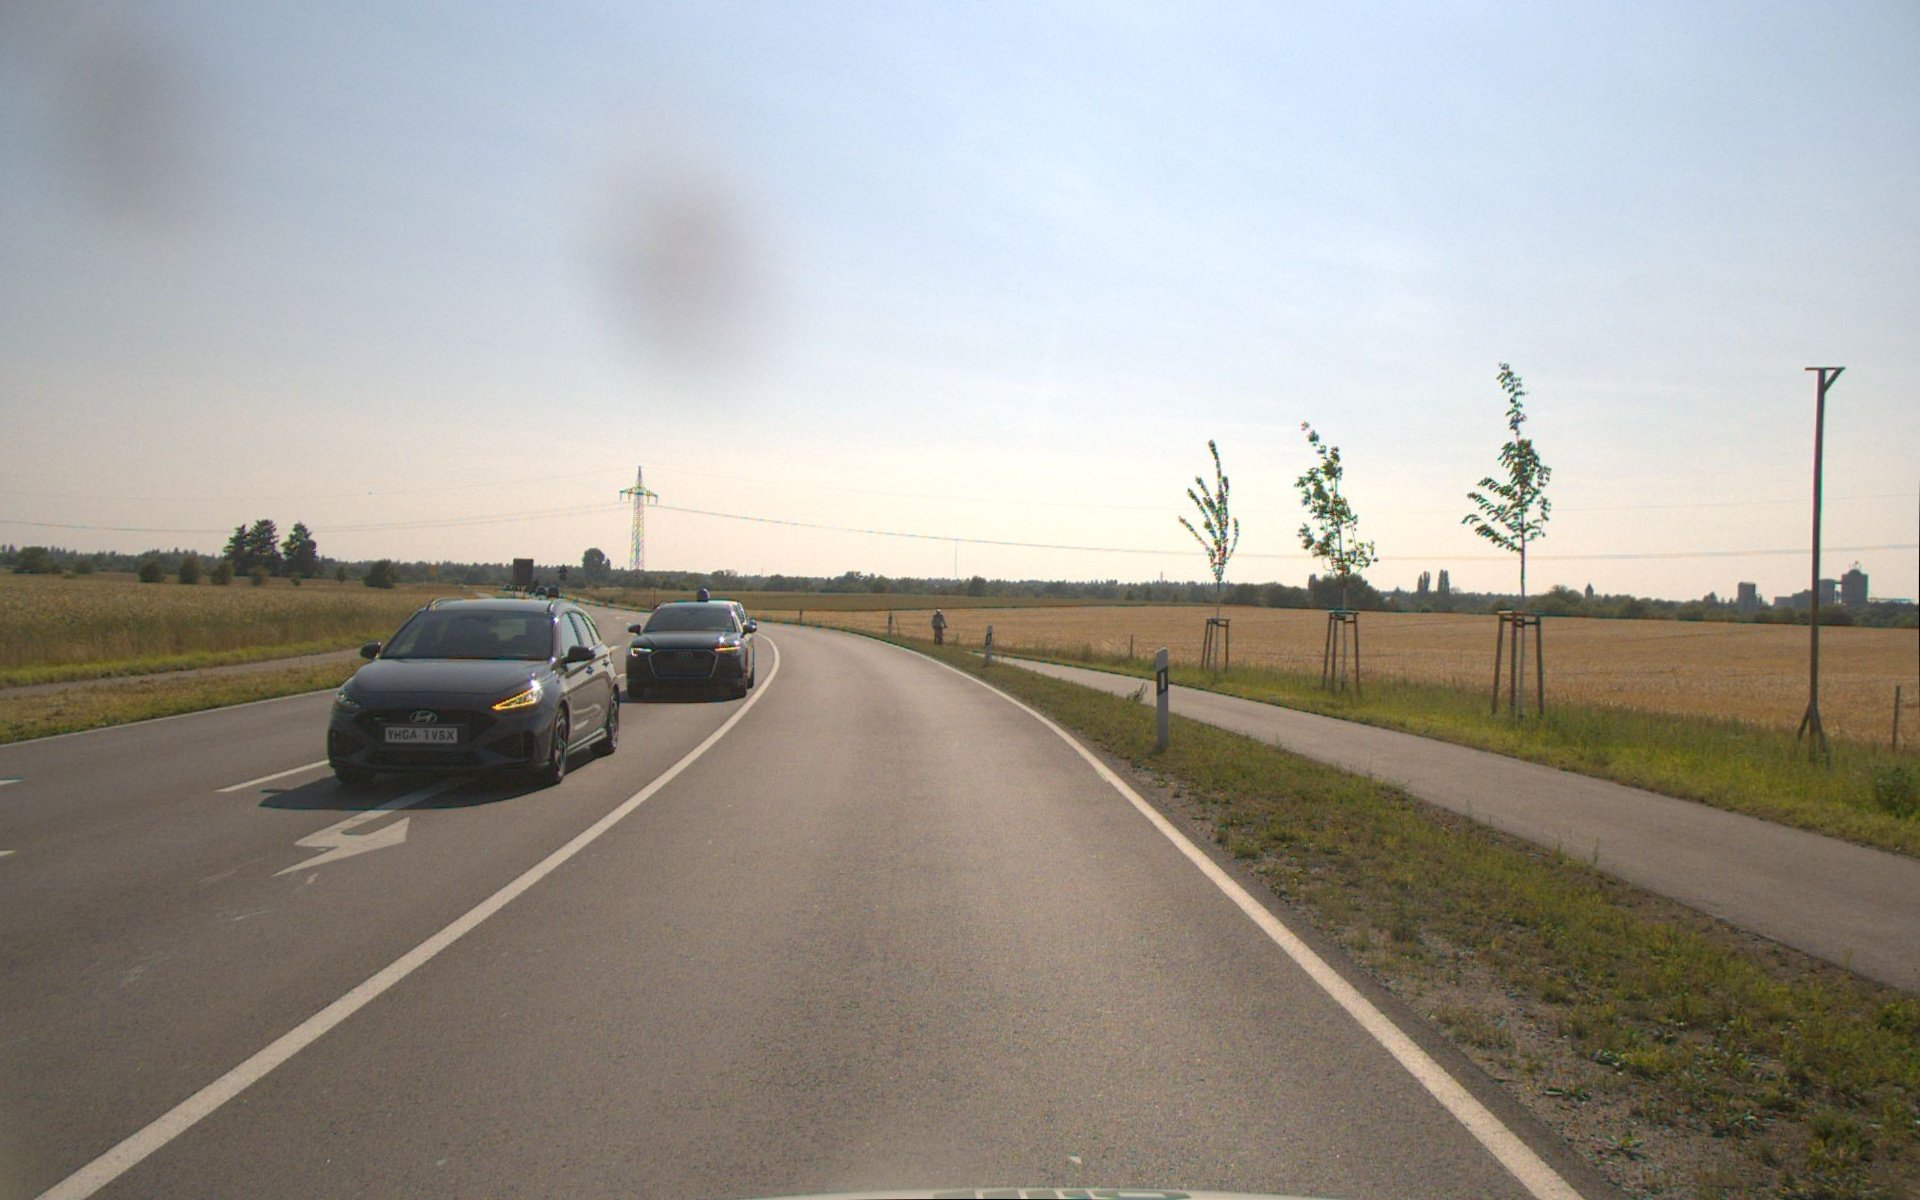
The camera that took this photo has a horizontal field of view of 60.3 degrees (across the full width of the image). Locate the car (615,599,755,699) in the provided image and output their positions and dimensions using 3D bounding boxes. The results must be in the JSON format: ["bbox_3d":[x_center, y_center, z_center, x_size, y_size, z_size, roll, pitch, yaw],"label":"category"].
[{"bbox_3d":[-4.368,0.733,26.915,1.853,1.461,4.792,1,0,-5],"label":"car"}]

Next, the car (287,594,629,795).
[{"bbox_3d":[-4.153,0.709,14.448,1.852,1.486,4.303,0,0,-3],"label":"car"}]

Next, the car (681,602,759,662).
[{"bbox_3d":[-5.920,0.762,41.121,1.653,1.428,3.996,0,0,-4],"label":"car"}]

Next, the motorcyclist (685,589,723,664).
[{"bbox_3d":[-5.265,0.538,33.999,0.664,1.521,0.846,1,0,-3],"label":"motorcyclist"}]

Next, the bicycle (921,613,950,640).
[{"bbox_3d":[-1.153,1.216,76.874,0.830,1.162,2.199,3,-1,-13],"label":"bicycle"}]

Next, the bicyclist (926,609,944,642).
[{"bbox_3d":[-1.172,1.200,76.930,0.627,1.482,0.814,3,-1,-14],"label":"bicyclist"}]
